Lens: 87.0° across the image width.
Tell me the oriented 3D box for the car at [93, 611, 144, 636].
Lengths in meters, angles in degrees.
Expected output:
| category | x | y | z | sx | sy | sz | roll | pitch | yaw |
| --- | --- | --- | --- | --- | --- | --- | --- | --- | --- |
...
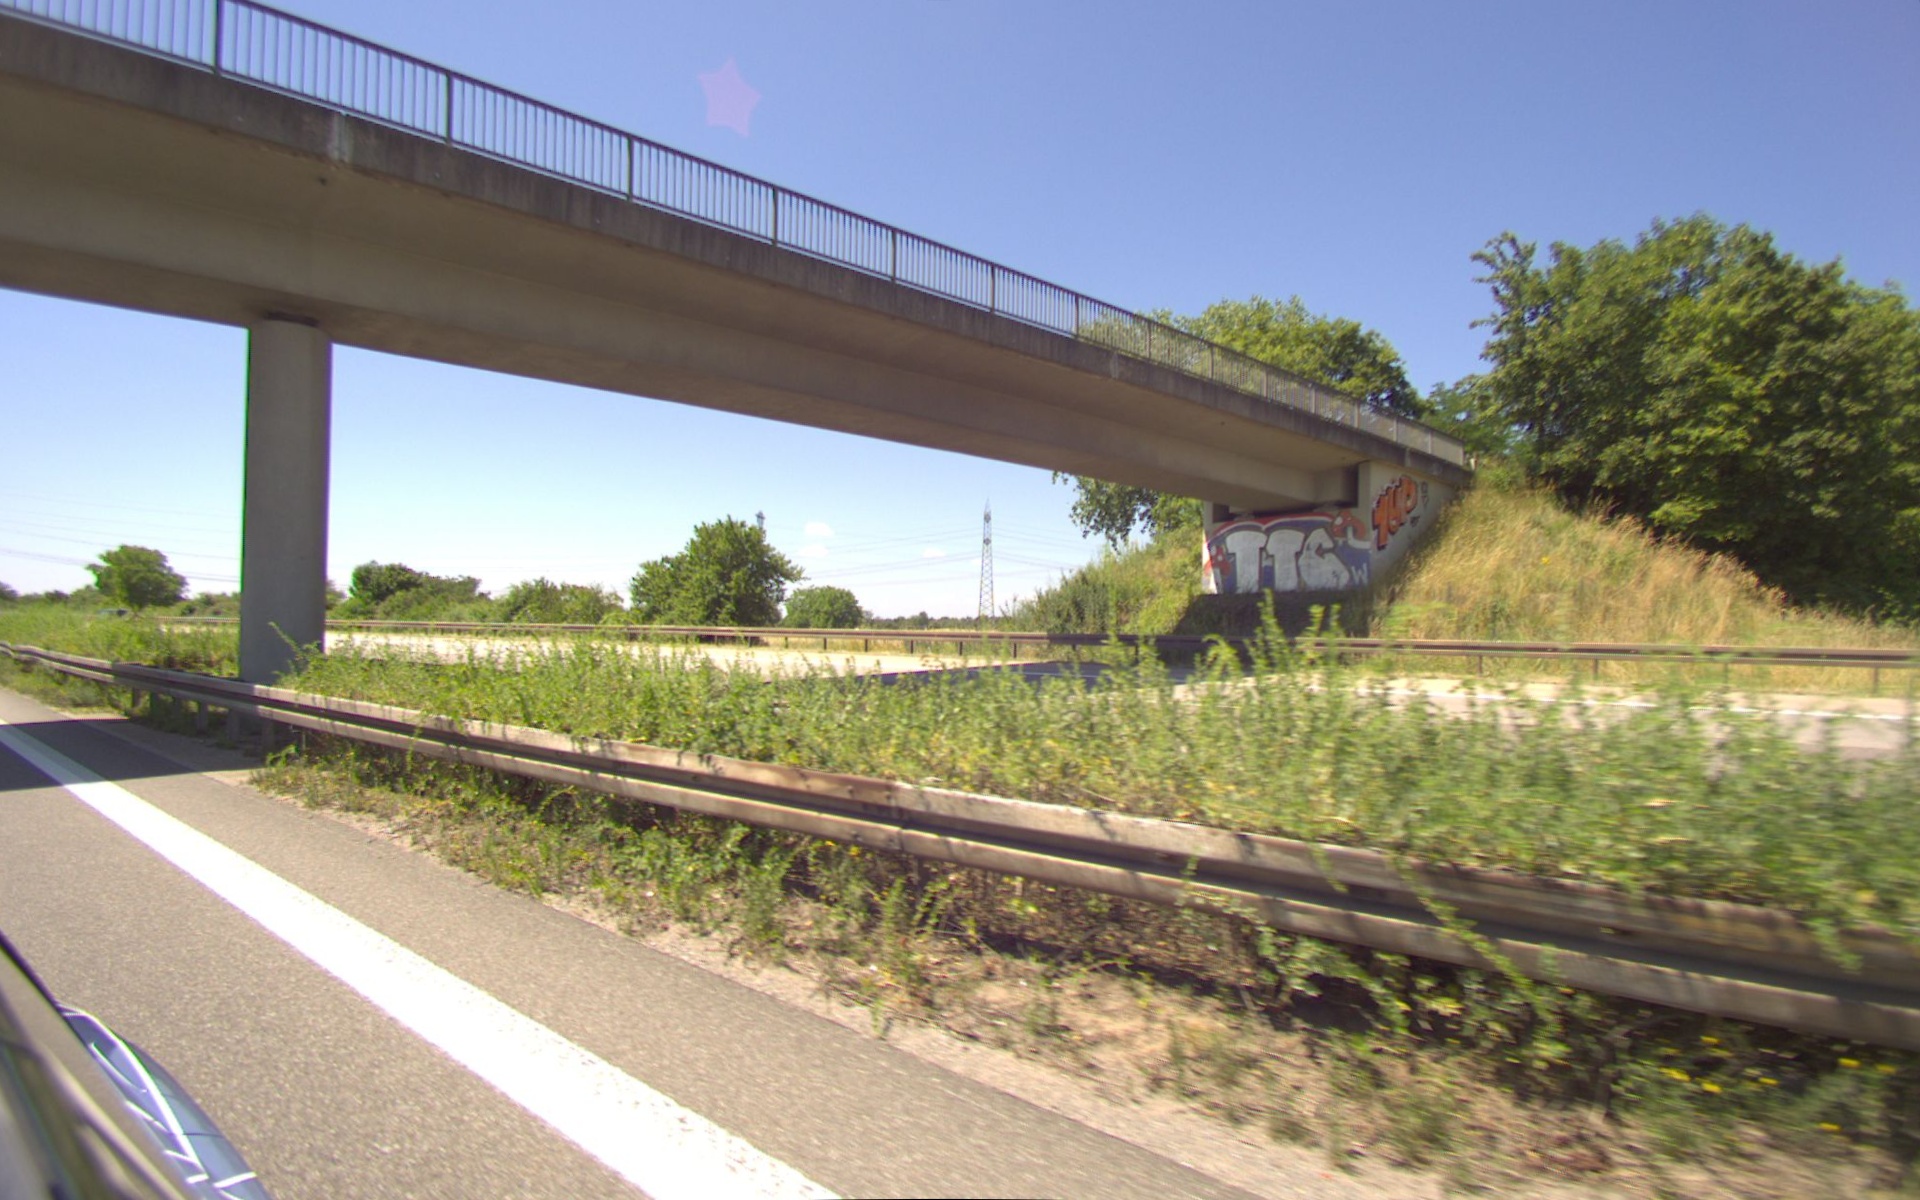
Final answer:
| category | x | y | z | sx | sy | sz | roll | pitch | yaw |
| --- | --- | --- | --- | --- | --- | --- | --- | --- | --- |
| car | -58.097 | 1.627 | 69.814 | 5.629 | 1.613 | 1.660 | -1 | 1 | 39 |
